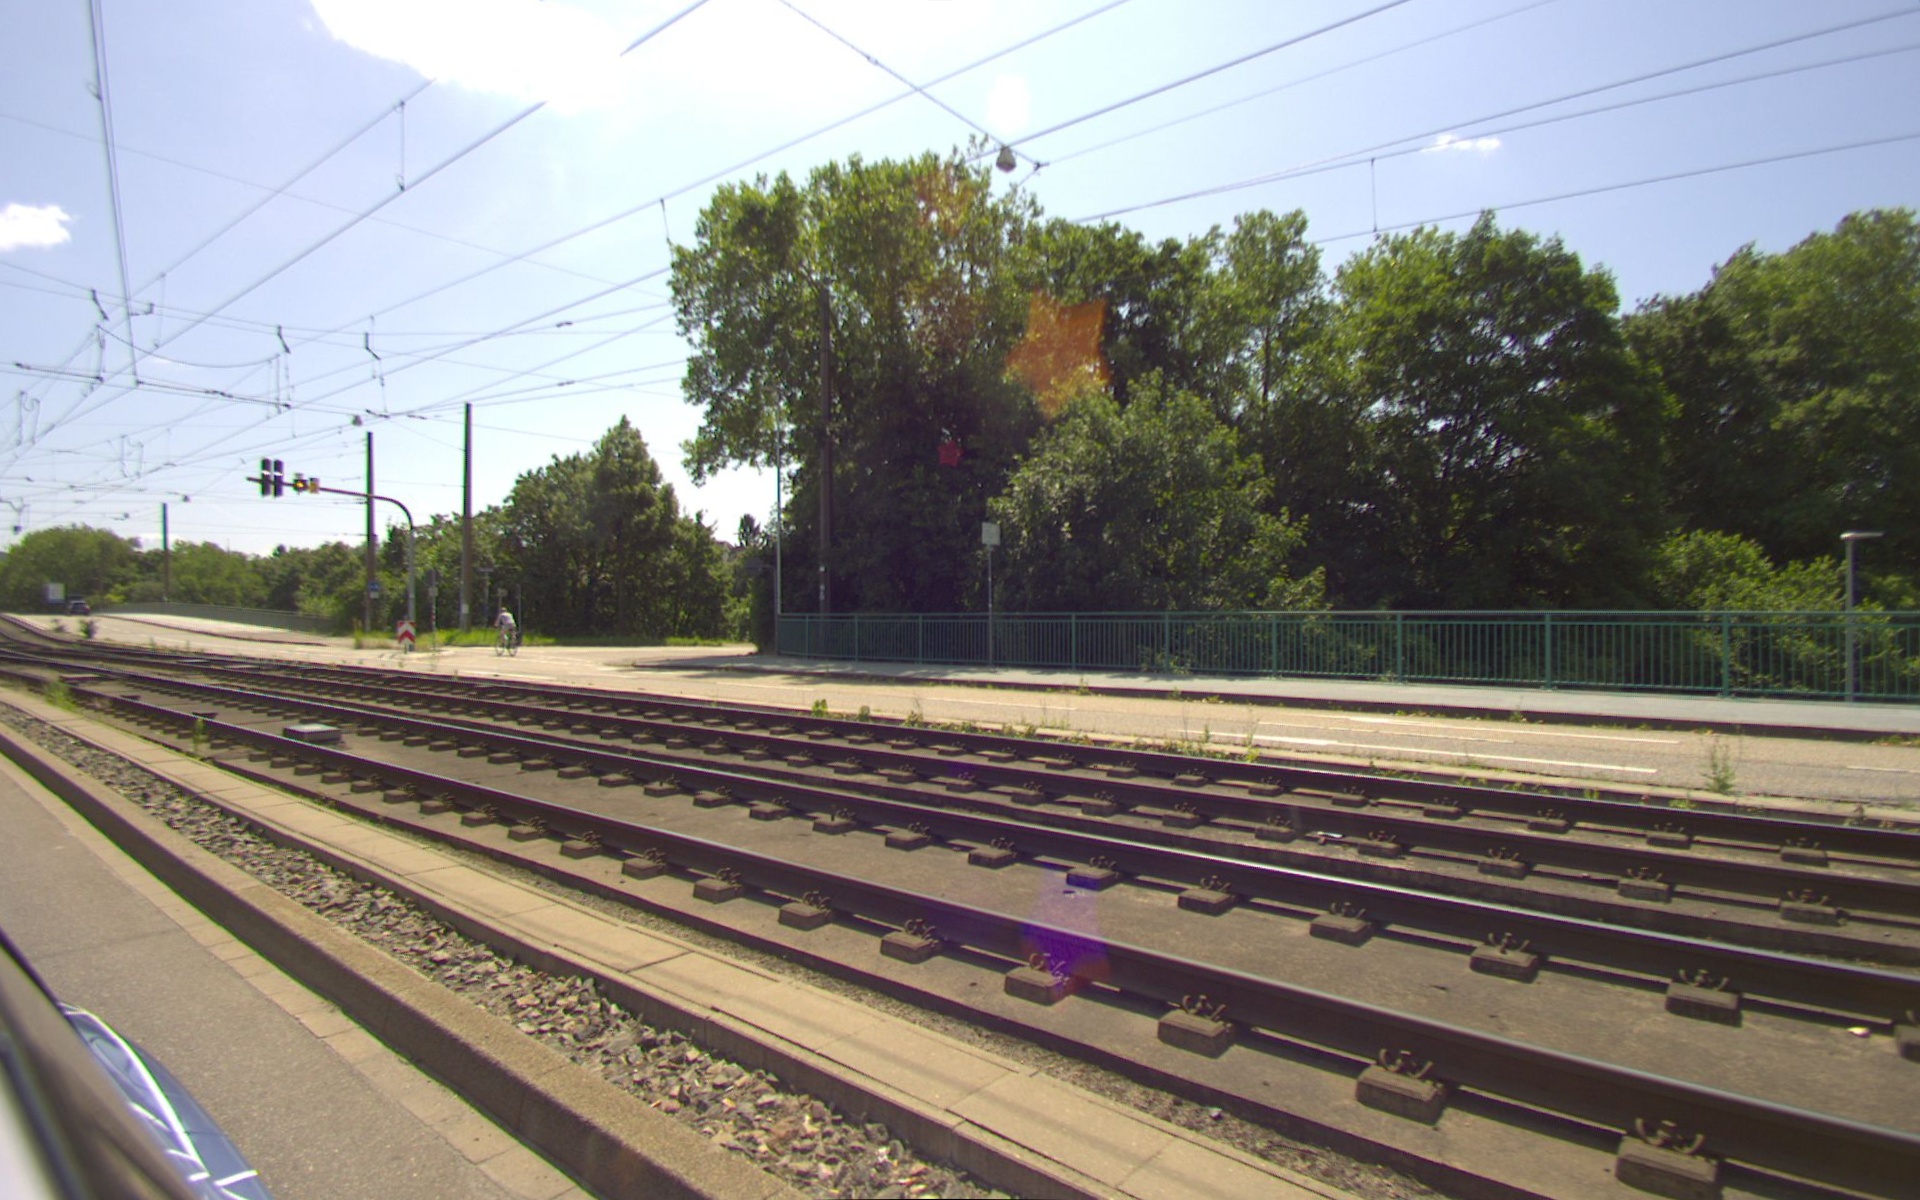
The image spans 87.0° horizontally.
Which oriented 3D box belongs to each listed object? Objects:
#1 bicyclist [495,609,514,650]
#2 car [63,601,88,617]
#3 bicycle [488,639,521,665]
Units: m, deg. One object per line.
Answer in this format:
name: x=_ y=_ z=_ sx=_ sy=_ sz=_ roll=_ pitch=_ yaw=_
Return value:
bicyclist: x=-16.610 y=1.074 z=36.910 sx=0.633 sy=1.485 sz=0.451 roll=0 pitch=0 yaw=43
car: x=-89.430 y=0.884 z=102.296 sx=1.685 sy=1.521 sz=3.735 roll=1 pitch=0 yaw=-45
bicycle: x=-16.614 y=1.898 z=36.908 sx=1.743 sy=0.875 sz=0.463 roll=0 pitch=0 yaw=43
